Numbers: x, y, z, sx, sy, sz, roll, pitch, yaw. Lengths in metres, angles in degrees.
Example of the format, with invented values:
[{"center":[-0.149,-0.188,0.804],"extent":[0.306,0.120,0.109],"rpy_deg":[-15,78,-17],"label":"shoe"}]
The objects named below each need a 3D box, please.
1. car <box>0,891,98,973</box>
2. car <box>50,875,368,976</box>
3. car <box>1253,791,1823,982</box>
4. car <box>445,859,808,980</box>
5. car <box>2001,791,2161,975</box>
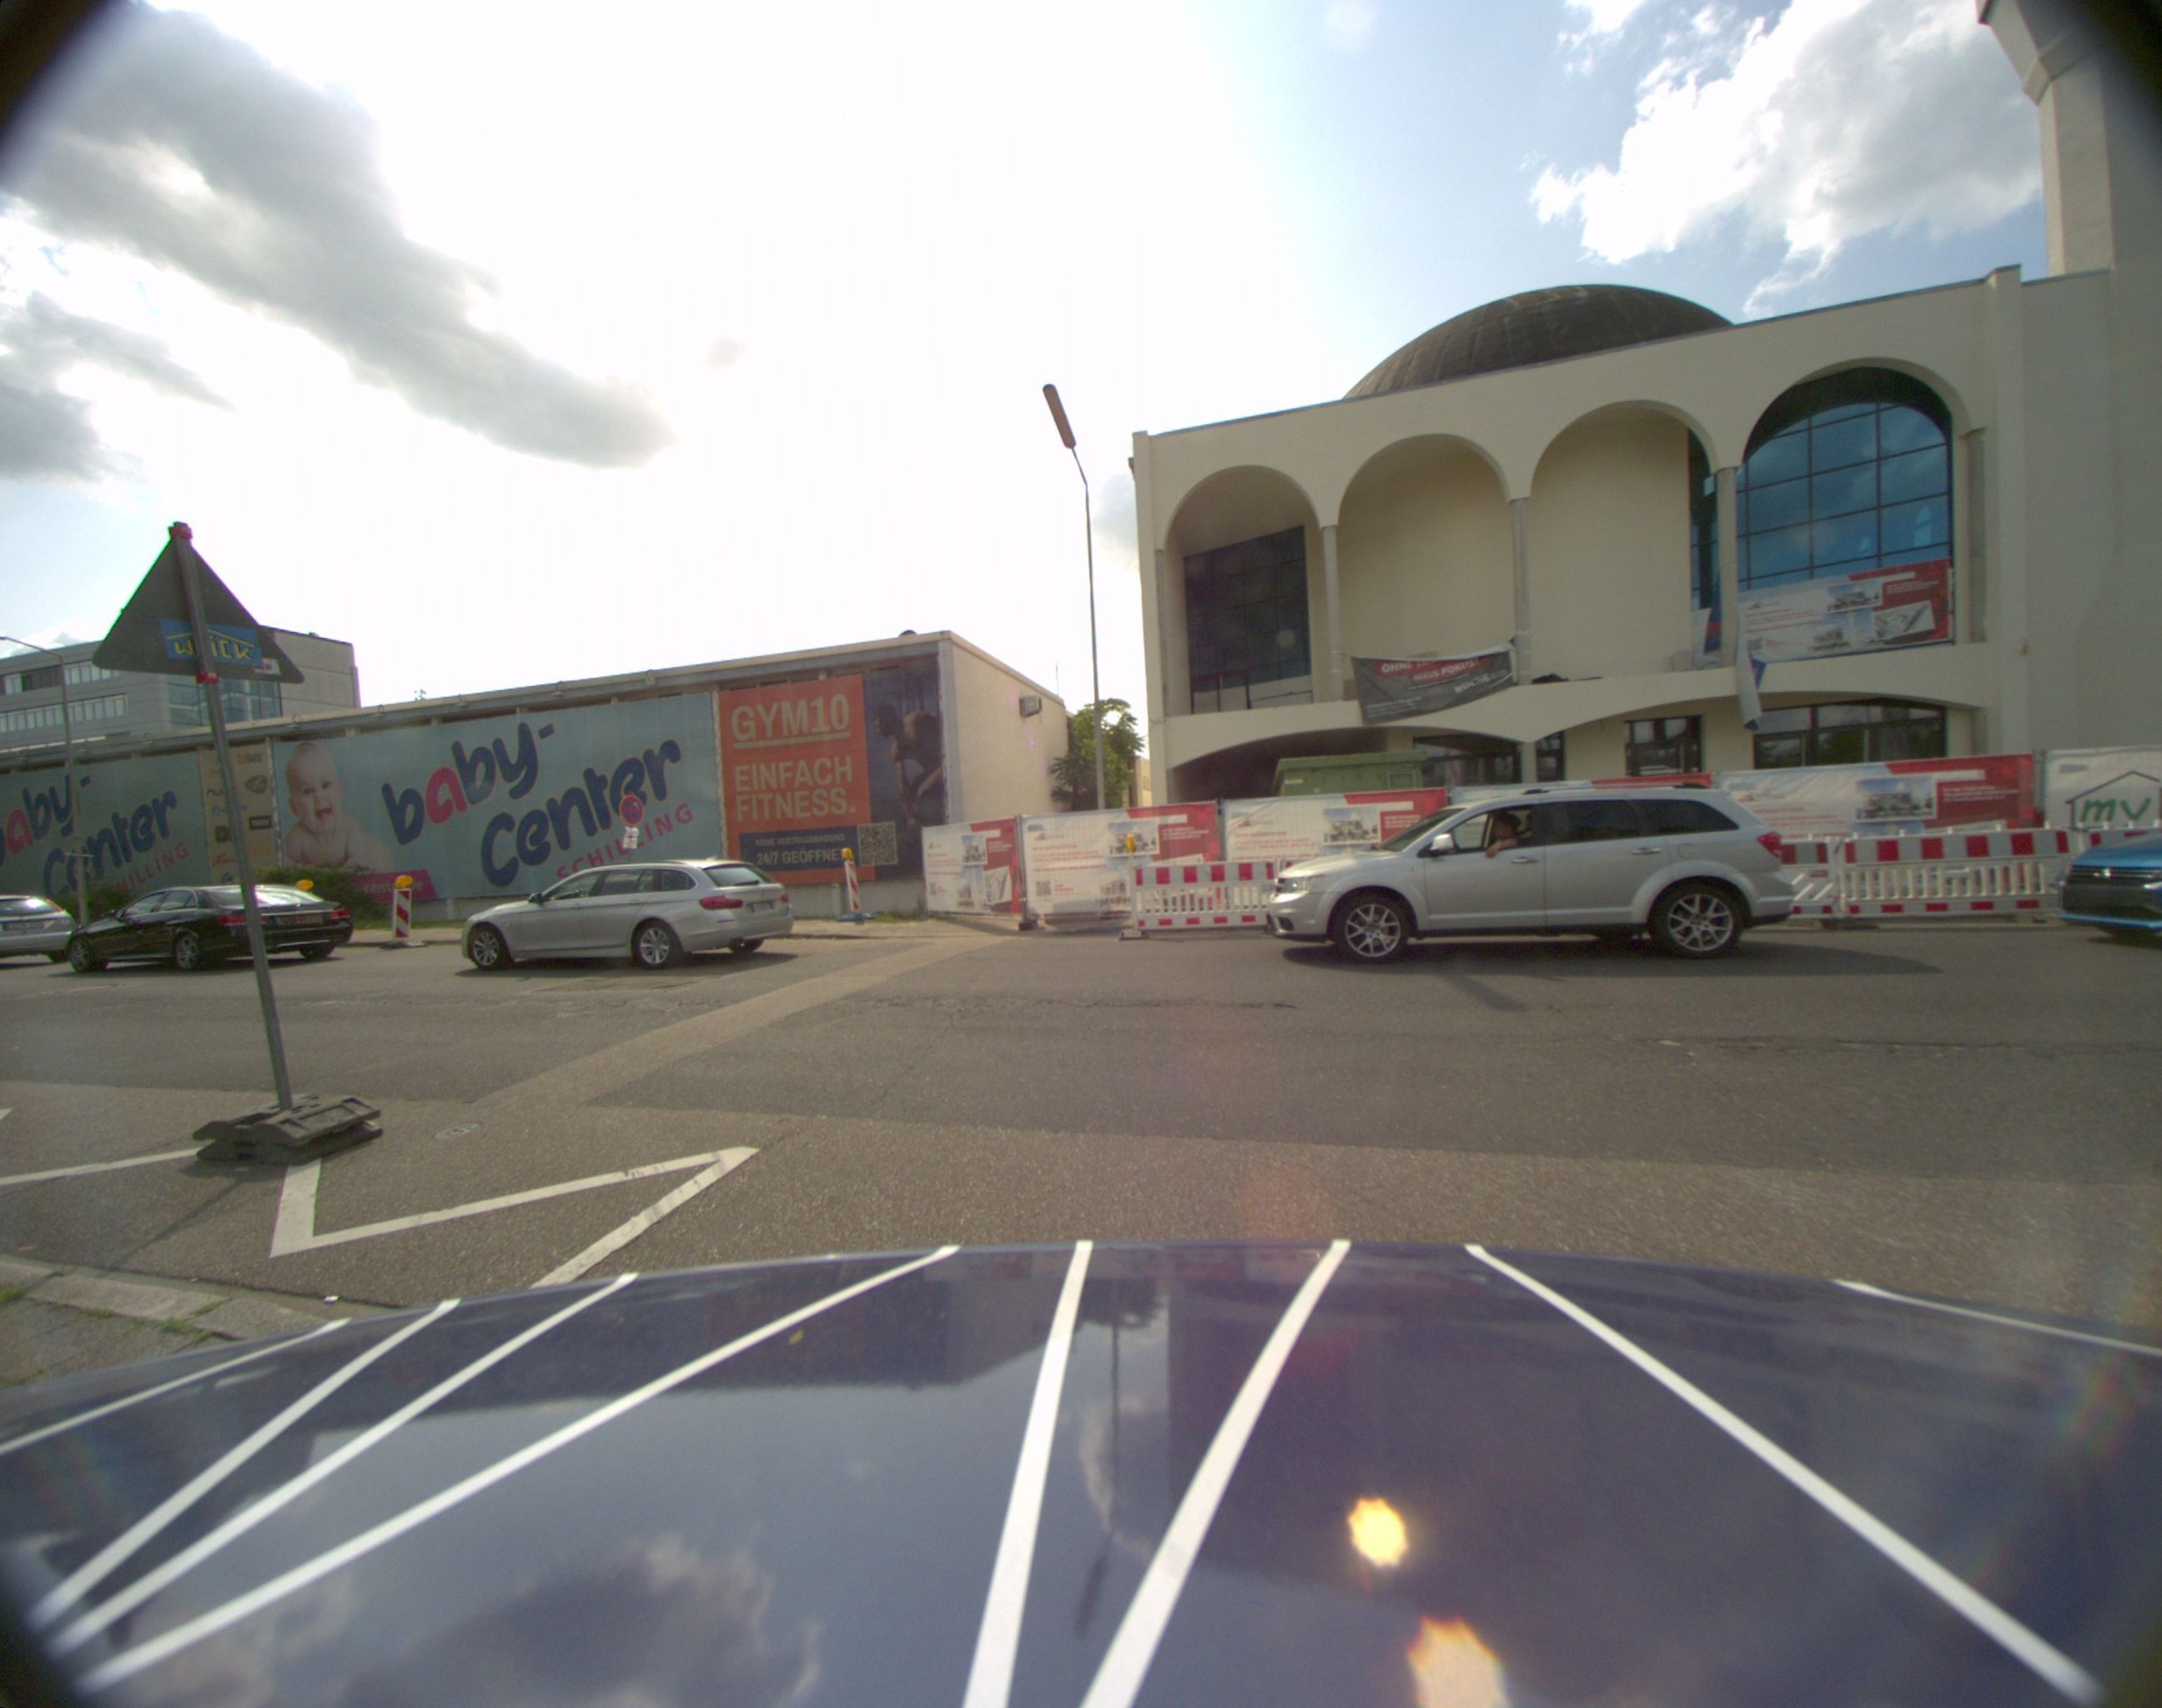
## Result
[{"center":[-22.798,1.632,15.510],"extent":[3.941,1.482,1.795],"rpy_deg":[-2,2,14],"label":"car"},{"center":[-15.624,1.269,13.682],"extent":[4.548,1.491,1.855],"rpy_deg":[-3,2,15],"label":"car"},{"center":[4.362,0.353,8.096],"extent":[4.831,1.690,1.870],"rpy_deg":[-2,1,11],"label":"car"},{"center":[-6.568,0.929,11.074],"extent":[4.609,1.471,1.772],"rpy_deg":[-2,1,16],"label":"car"},{"center":[11.081,0.139,6.313],"extent":[4.188,1.505,1.698],"rpy_deg":[-3,2,14],"label":"car"}]
